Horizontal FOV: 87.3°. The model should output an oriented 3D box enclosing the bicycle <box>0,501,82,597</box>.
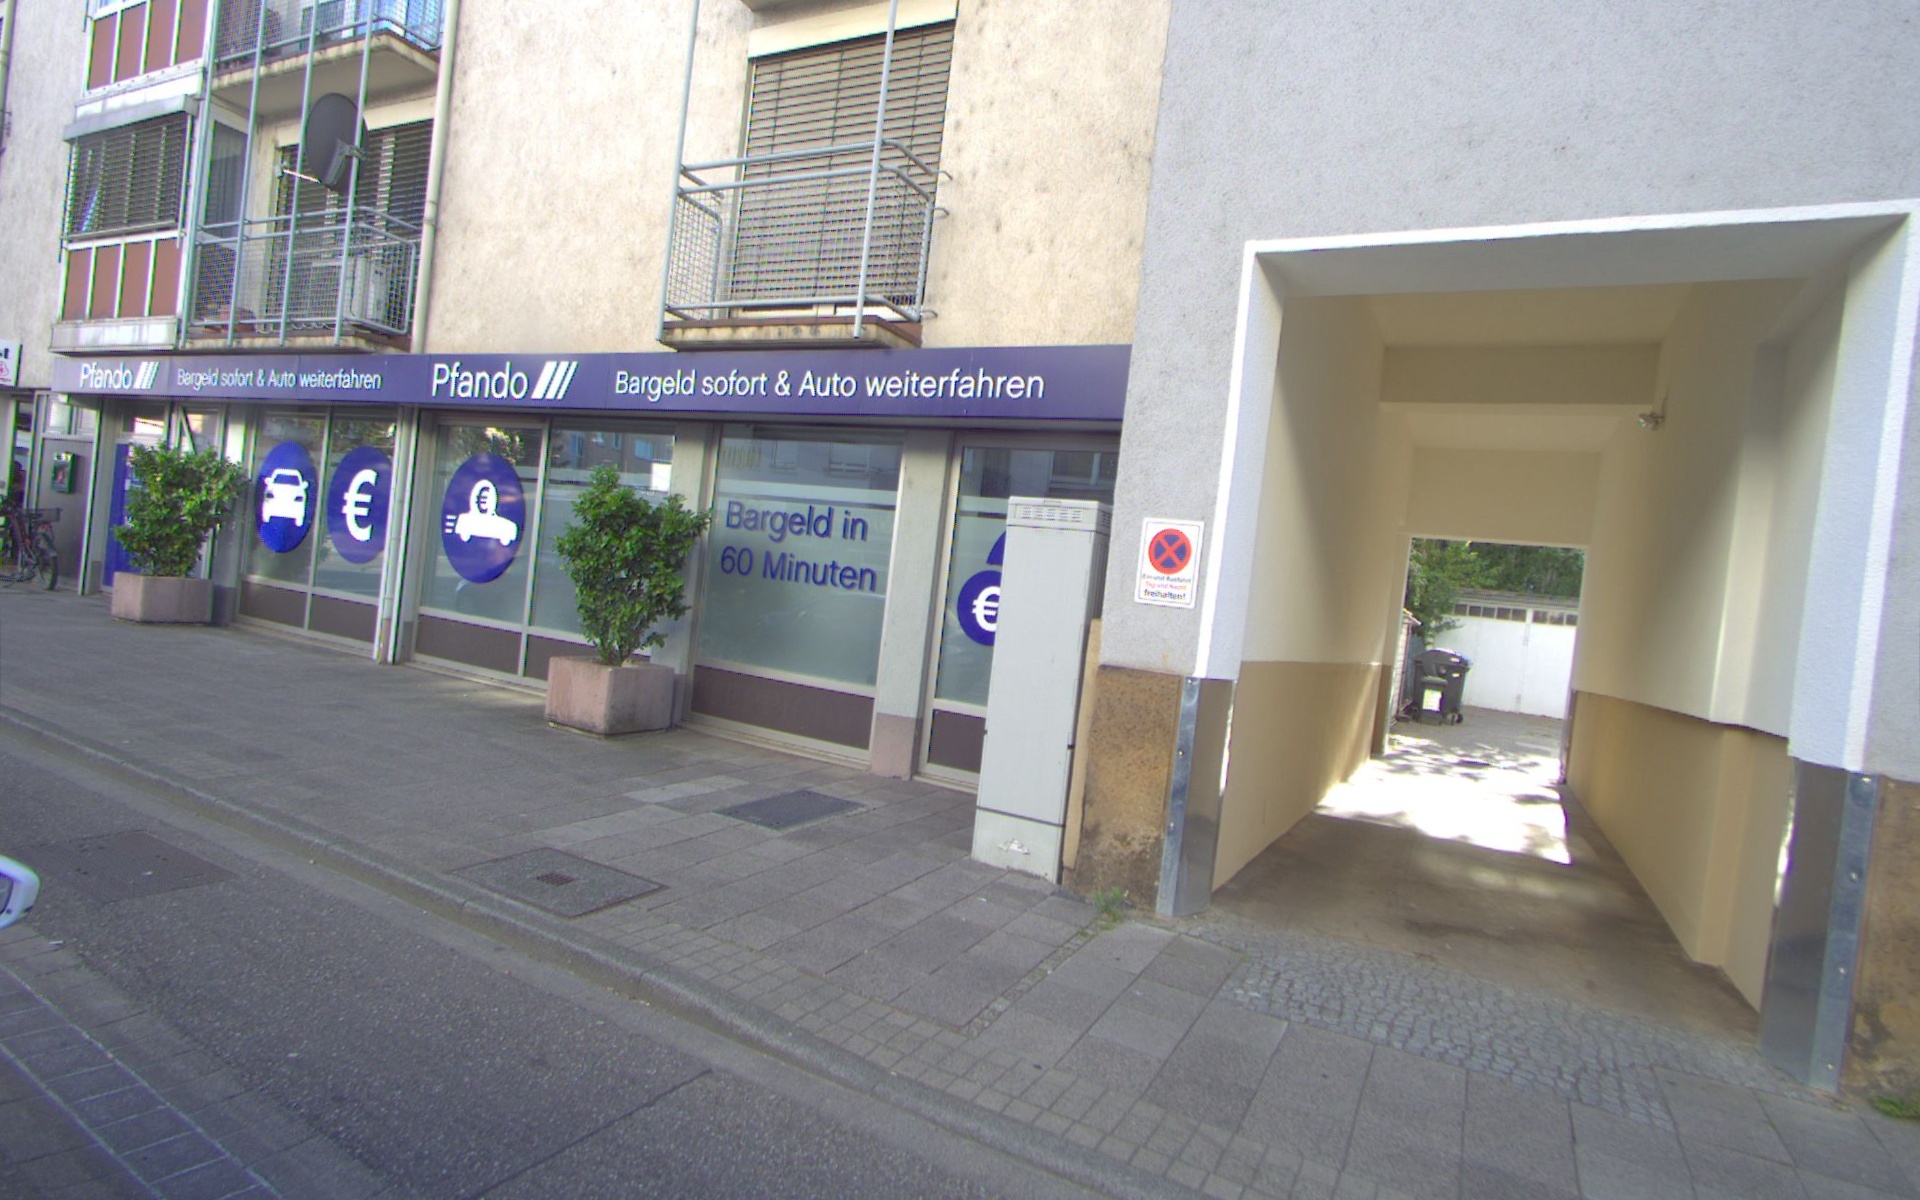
[{"bbox_3d":[-12.077,-0.689,12.928,1.779,1.086,0.531,7,1,28],"label":"bicycle"}]
